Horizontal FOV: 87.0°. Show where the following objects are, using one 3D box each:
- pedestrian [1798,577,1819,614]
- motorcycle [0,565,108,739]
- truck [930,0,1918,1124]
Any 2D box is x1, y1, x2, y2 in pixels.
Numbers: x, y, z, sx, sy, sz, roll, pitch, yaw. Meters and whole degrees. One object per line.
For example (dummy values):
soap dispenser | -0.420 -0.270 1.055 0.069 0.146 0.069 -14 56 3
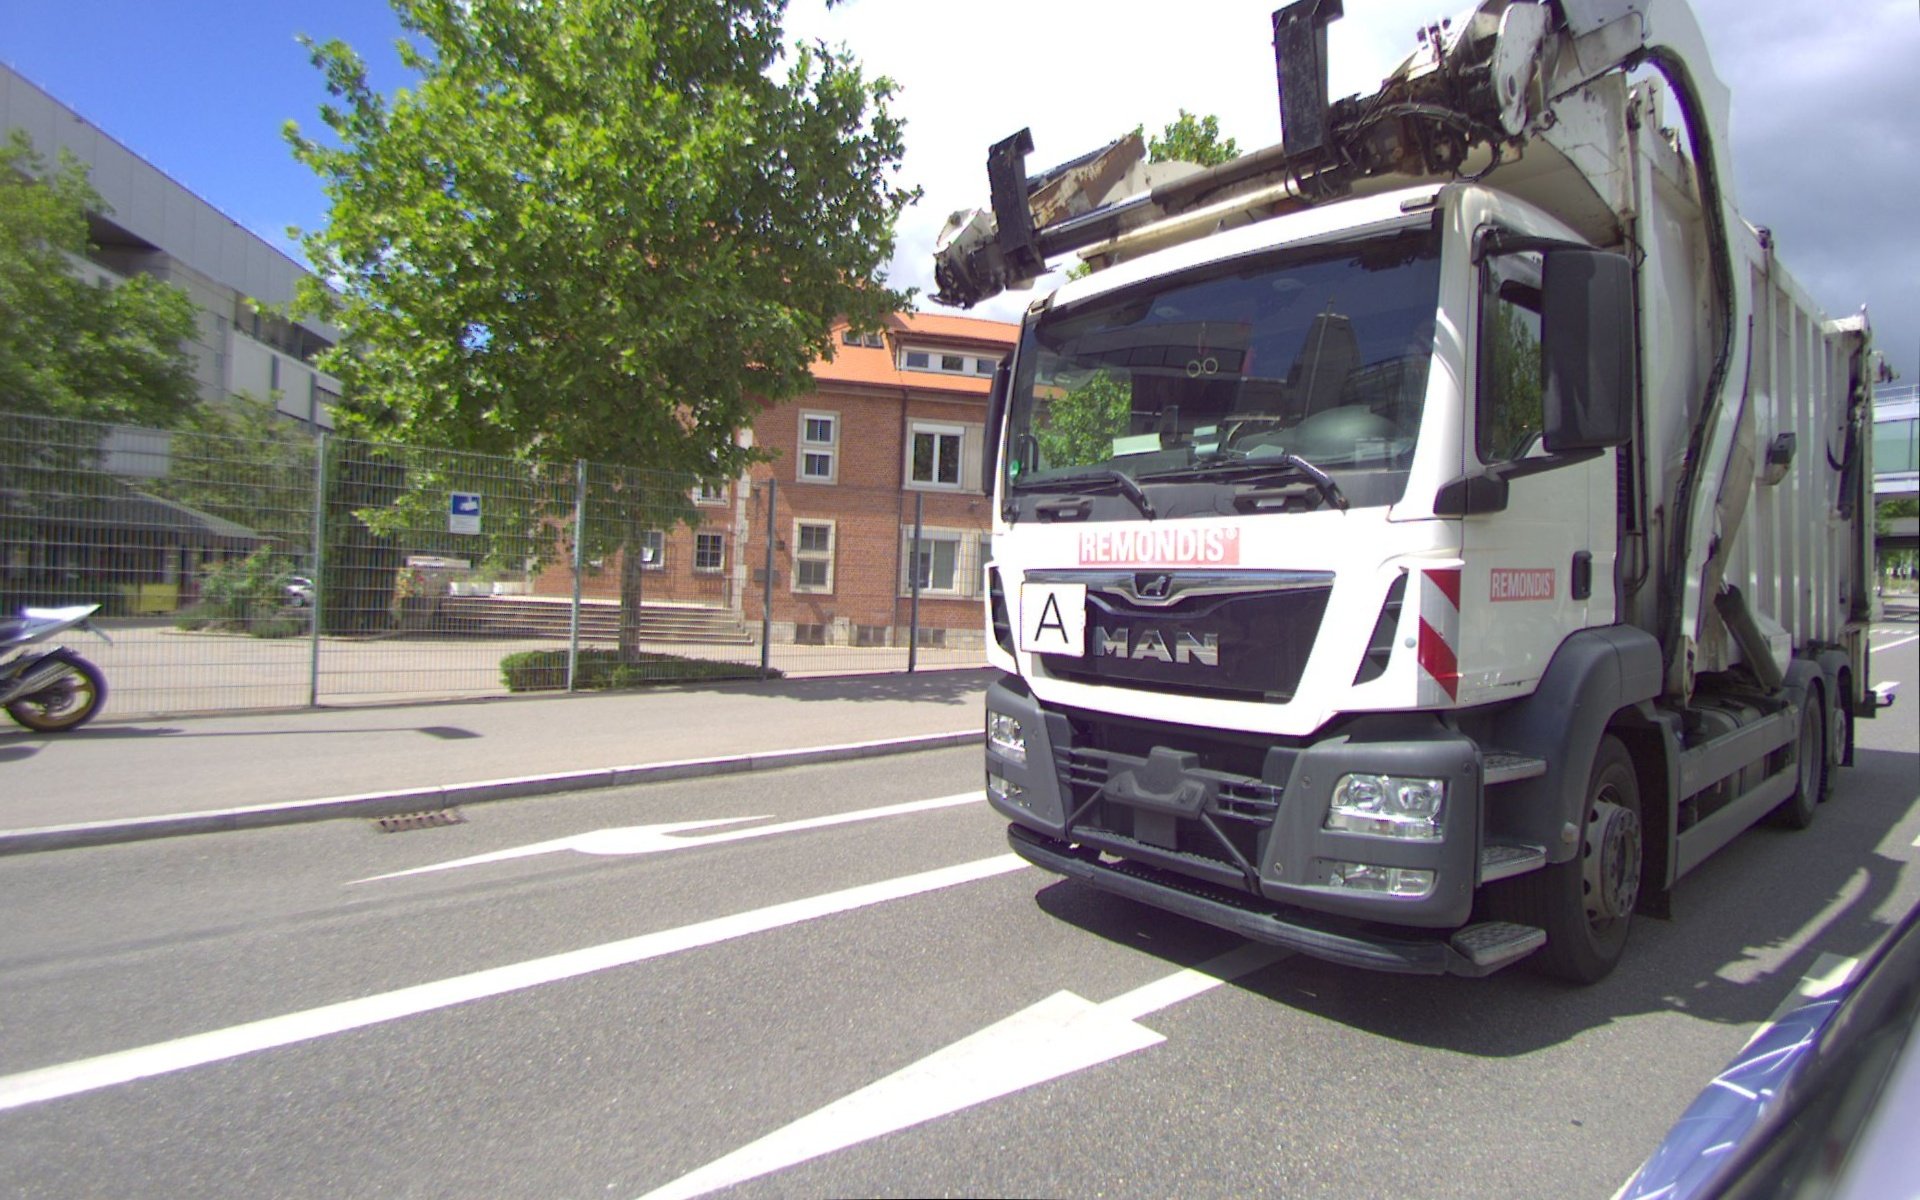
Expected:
pedestrian | 45.333 -0.250 54.066 0.647 1.936 0.738 0 0 -42
motorcycle | -7.435 0.372 7.290 1.978 1.238 0.688 -1 3 -41
truck | 4.403 -0.611 7.049 9.999 3.962 2.492 -1 0 -42
